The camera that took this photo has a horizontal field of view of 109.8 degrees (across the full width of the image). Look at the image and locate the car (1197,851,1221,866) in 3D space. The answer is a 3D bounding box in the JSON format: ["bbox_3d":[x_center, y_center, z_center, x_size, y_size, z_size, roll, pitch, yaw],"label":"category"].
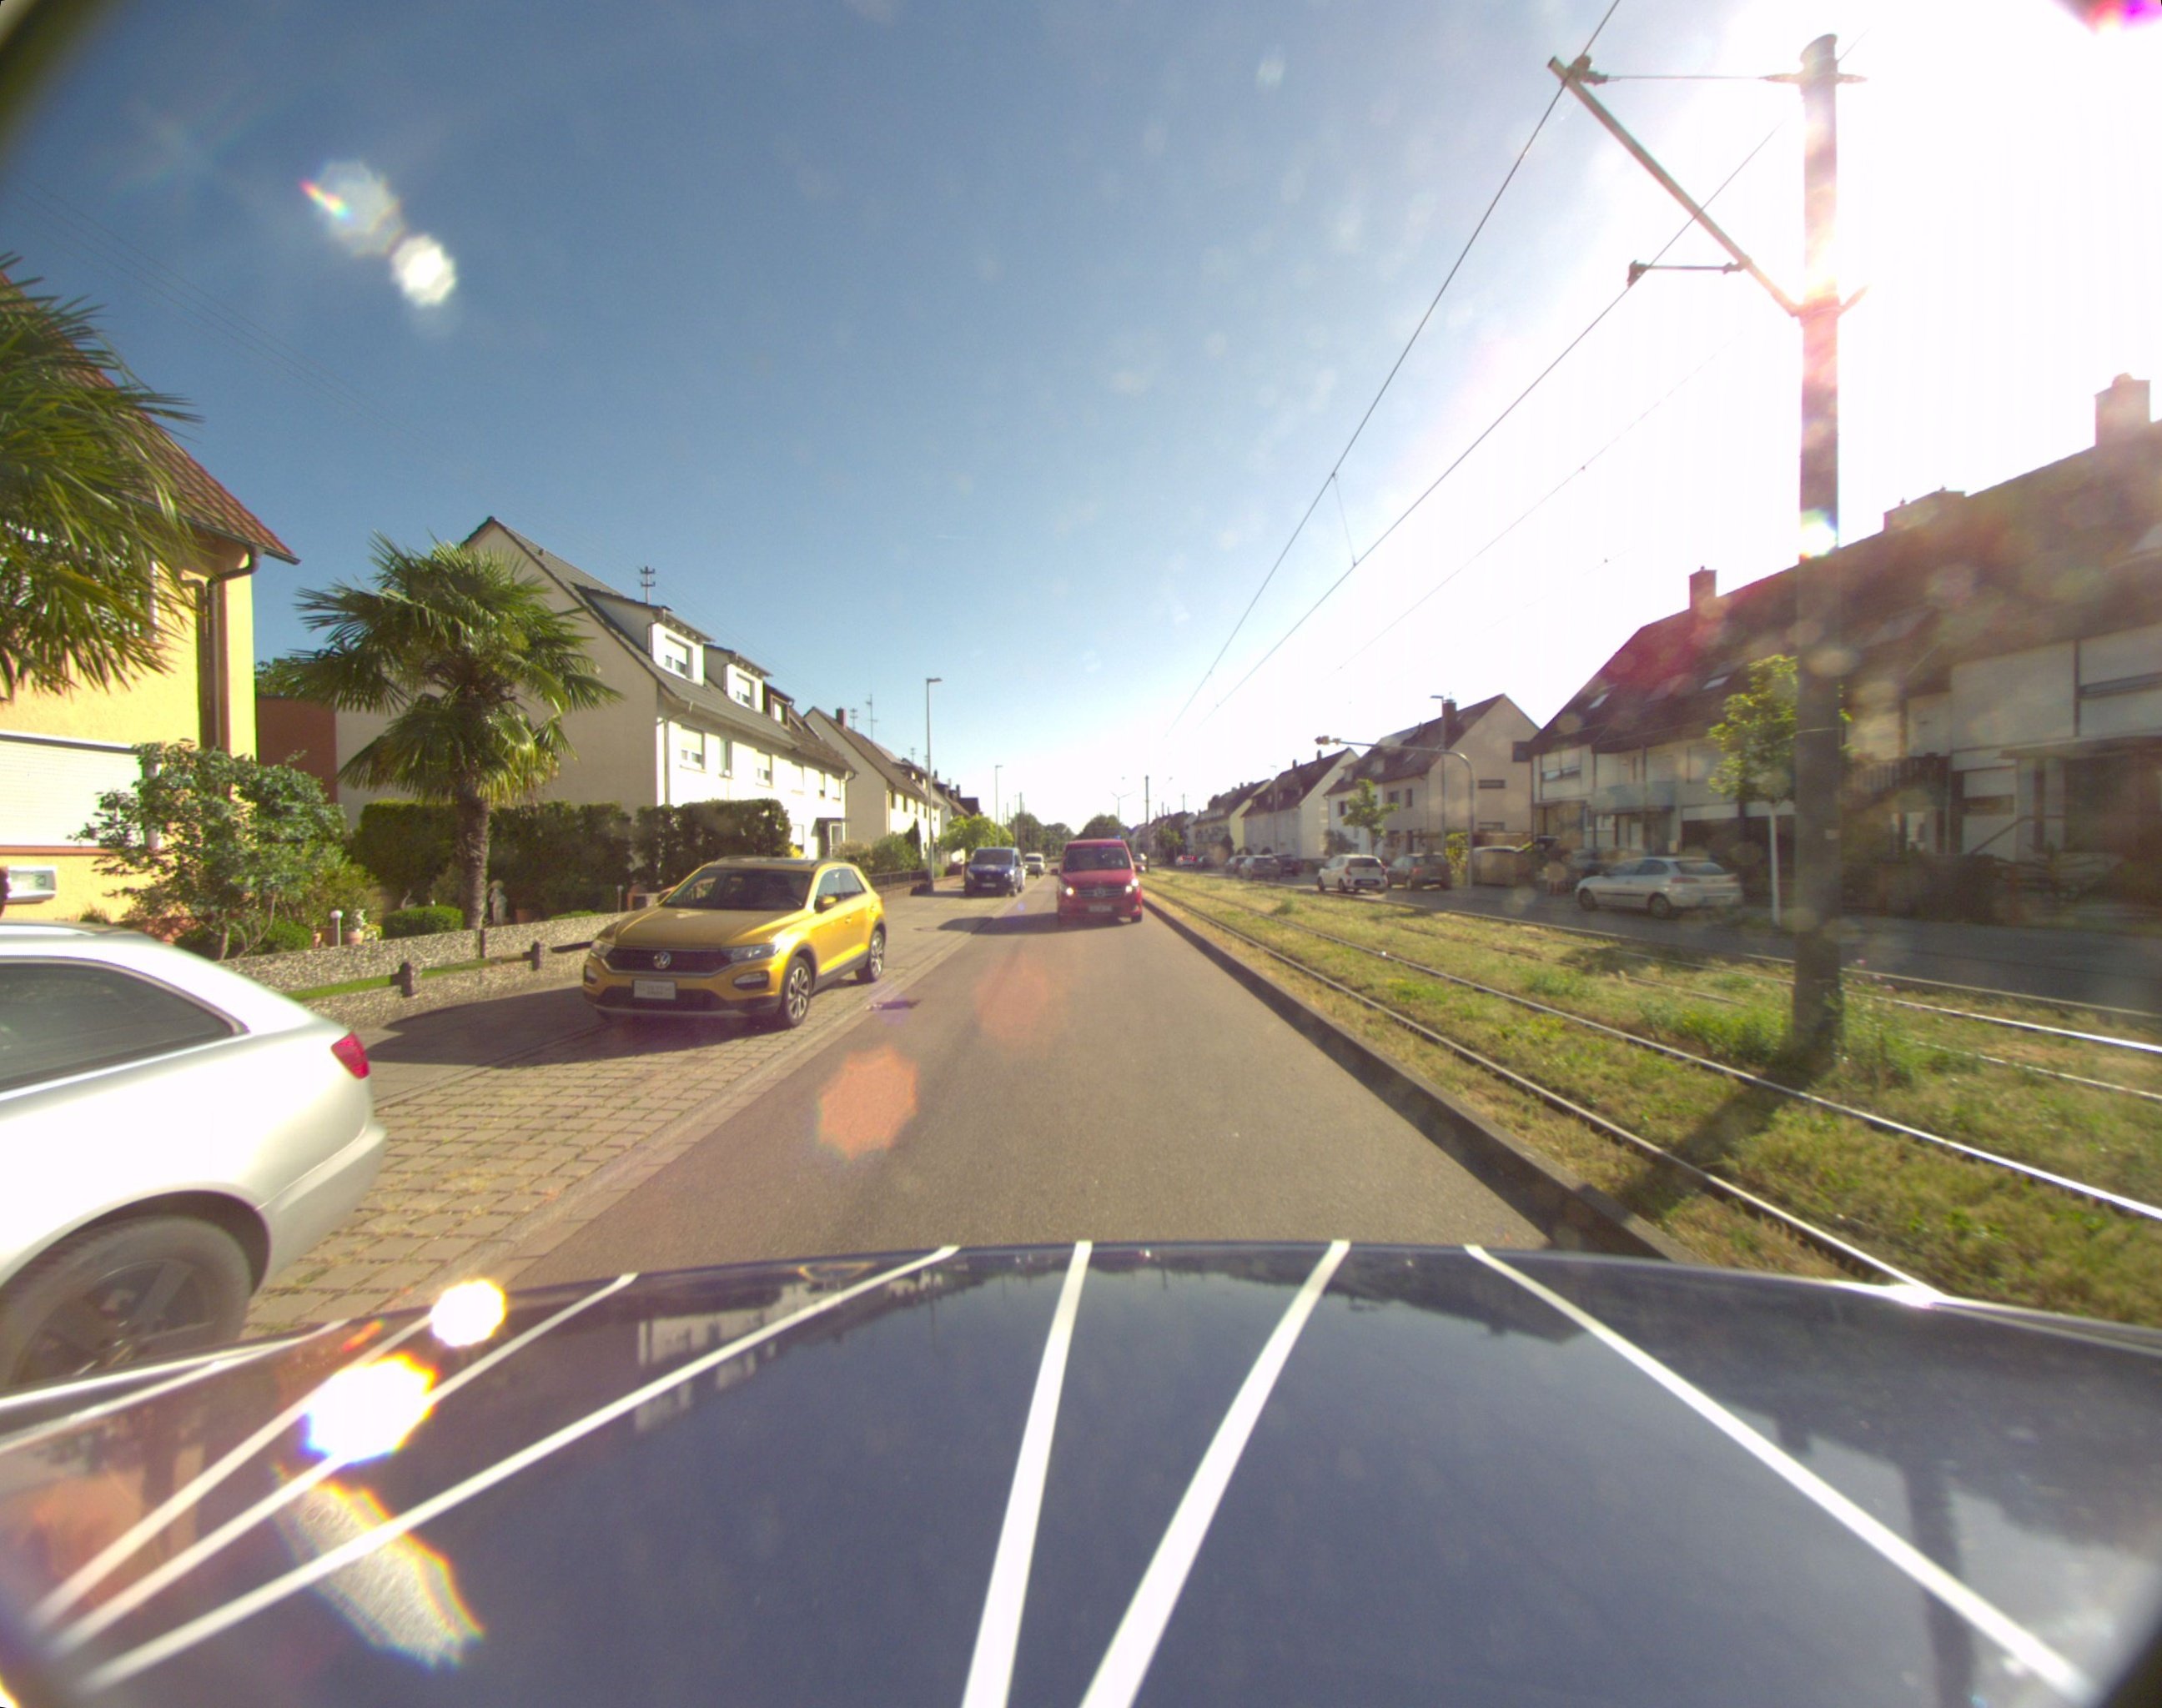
[{"bbox_3d":[13.089,0.434,78.099,1.704,1.389,4.092,-2,1,-1],"label":"car"}]

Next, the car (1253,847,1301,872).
[{"bbox_3d":[13.556,0.363,52.812,1.926,1.551,4.857,-2,1,-1],"label":"car"}]

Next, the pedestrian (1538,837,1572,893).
[{"bbox_3d":[15.654,0.347,25.101,0.617,1.805,0.678,-2,1,-8],"label":"pedestrian"}]

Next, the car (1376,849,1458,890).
[{"bbox_3d":[13.769,0.598,31.406,1.623,1.503,4.085,-2,0,1],"label":"car"}]

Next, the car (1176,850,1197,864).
[{"bbox_3d":[12.403,0.320,89.777,1.832,1.522,4.092,-2,1,-1],"label":"car"}]

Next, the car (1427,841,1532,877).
[{"bbox_3d":[20.631,0.261,39.436,4.403,1.773,1.970,-1,0,0],"label":"car"}]

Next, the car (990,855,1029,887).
[{"bbox_3d":[-3.443,0.784,37.448,1.735,1.450,5.283,0,0,-4],"label":"car"}]

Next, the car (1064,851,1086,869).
[{"bbox_3d":[-0.625,0.549,71.966,1.862,1.592,4.327,2,1,-3],"label":"car"}]

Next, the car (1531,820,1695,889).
[{"bbox_3d":[18.799,0.014,26.979,4.471,2.069,1.787,-4,1,1],"label":"car"}]

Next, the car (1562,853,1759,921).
[{"bbox_3d":[13.973,0.718,18.650,1.662,1.428,4.102,-1,0,-1],"label":"car"}]

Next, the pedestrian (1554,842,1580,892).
[{"bbox_3d":[16.602,0.444,25.979,0.552,1.678,0.624,-2,1,16],"label":"pedestrian"}]

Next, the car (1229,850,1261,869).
[{"bbox_3d":[13.586,0.450,63.125,1.658,1.447,4.400,-2,1,-1],"label":"car"}]

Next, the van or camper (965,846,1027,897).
[{"bbox_3d":[-3.305,0.611,30.556,1.954,1.836,5.581,0,1,-1],"label":"van or camper"}]

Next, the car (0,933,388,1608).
[{"bbox_3d":[-3.333,0.976,0.330,1.752,1.438,4.699,0,-1,0],"label":"car"}]

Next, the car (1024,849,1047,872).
[{"bbox_3d":[-3.817,0.510,63.855,1.796,1.752,4.583,2,0,-3],"label":"car"}]

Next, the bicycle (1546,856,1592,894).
[{"bbox_3d":[16.103,0.658,25.123,0.478,1.156,1.872,-2,1,6],"label":"bicycle"}]

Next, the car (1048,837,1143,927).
[{"bbox_3d":[0.290,0.575,19.018,1.999,1.889,5.389,-2,1,-1],"label":"car"}]

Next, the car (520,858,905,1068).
[{"bbox_3d":[-3.441,0.863,8.380,1.810,1.550,4.926,0,1,0],"label":"car"}]

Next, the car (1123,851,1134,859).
[{"bbox_3d":[10.277,0.213,165.300,2.017,1.561,4.092,-2,1,-1],"label":"car"}]

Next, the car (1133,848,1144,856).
[{"bbox_3d":[10.758,-0.403,142.049,1.704,1.455,4.092,-2,1,-1],"label":"car"}]

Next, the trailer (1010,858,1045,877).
[{"bbox_3d":[-3.742,0.922,53.492,2.278,1.124,6.434,2,0,-3],"label":"trailer"}]

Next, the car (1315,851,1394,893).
[{"bbox_3d":[10.497,0.653,29.408,1.693,1.467,3.679,1,1,-1],"label":"car"}]

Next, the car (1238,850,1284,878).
[{"bbox_3d":[10.652,0.550,45.129,1.693,1.467,4.082,-2,1,-1],"label":"car"}]
